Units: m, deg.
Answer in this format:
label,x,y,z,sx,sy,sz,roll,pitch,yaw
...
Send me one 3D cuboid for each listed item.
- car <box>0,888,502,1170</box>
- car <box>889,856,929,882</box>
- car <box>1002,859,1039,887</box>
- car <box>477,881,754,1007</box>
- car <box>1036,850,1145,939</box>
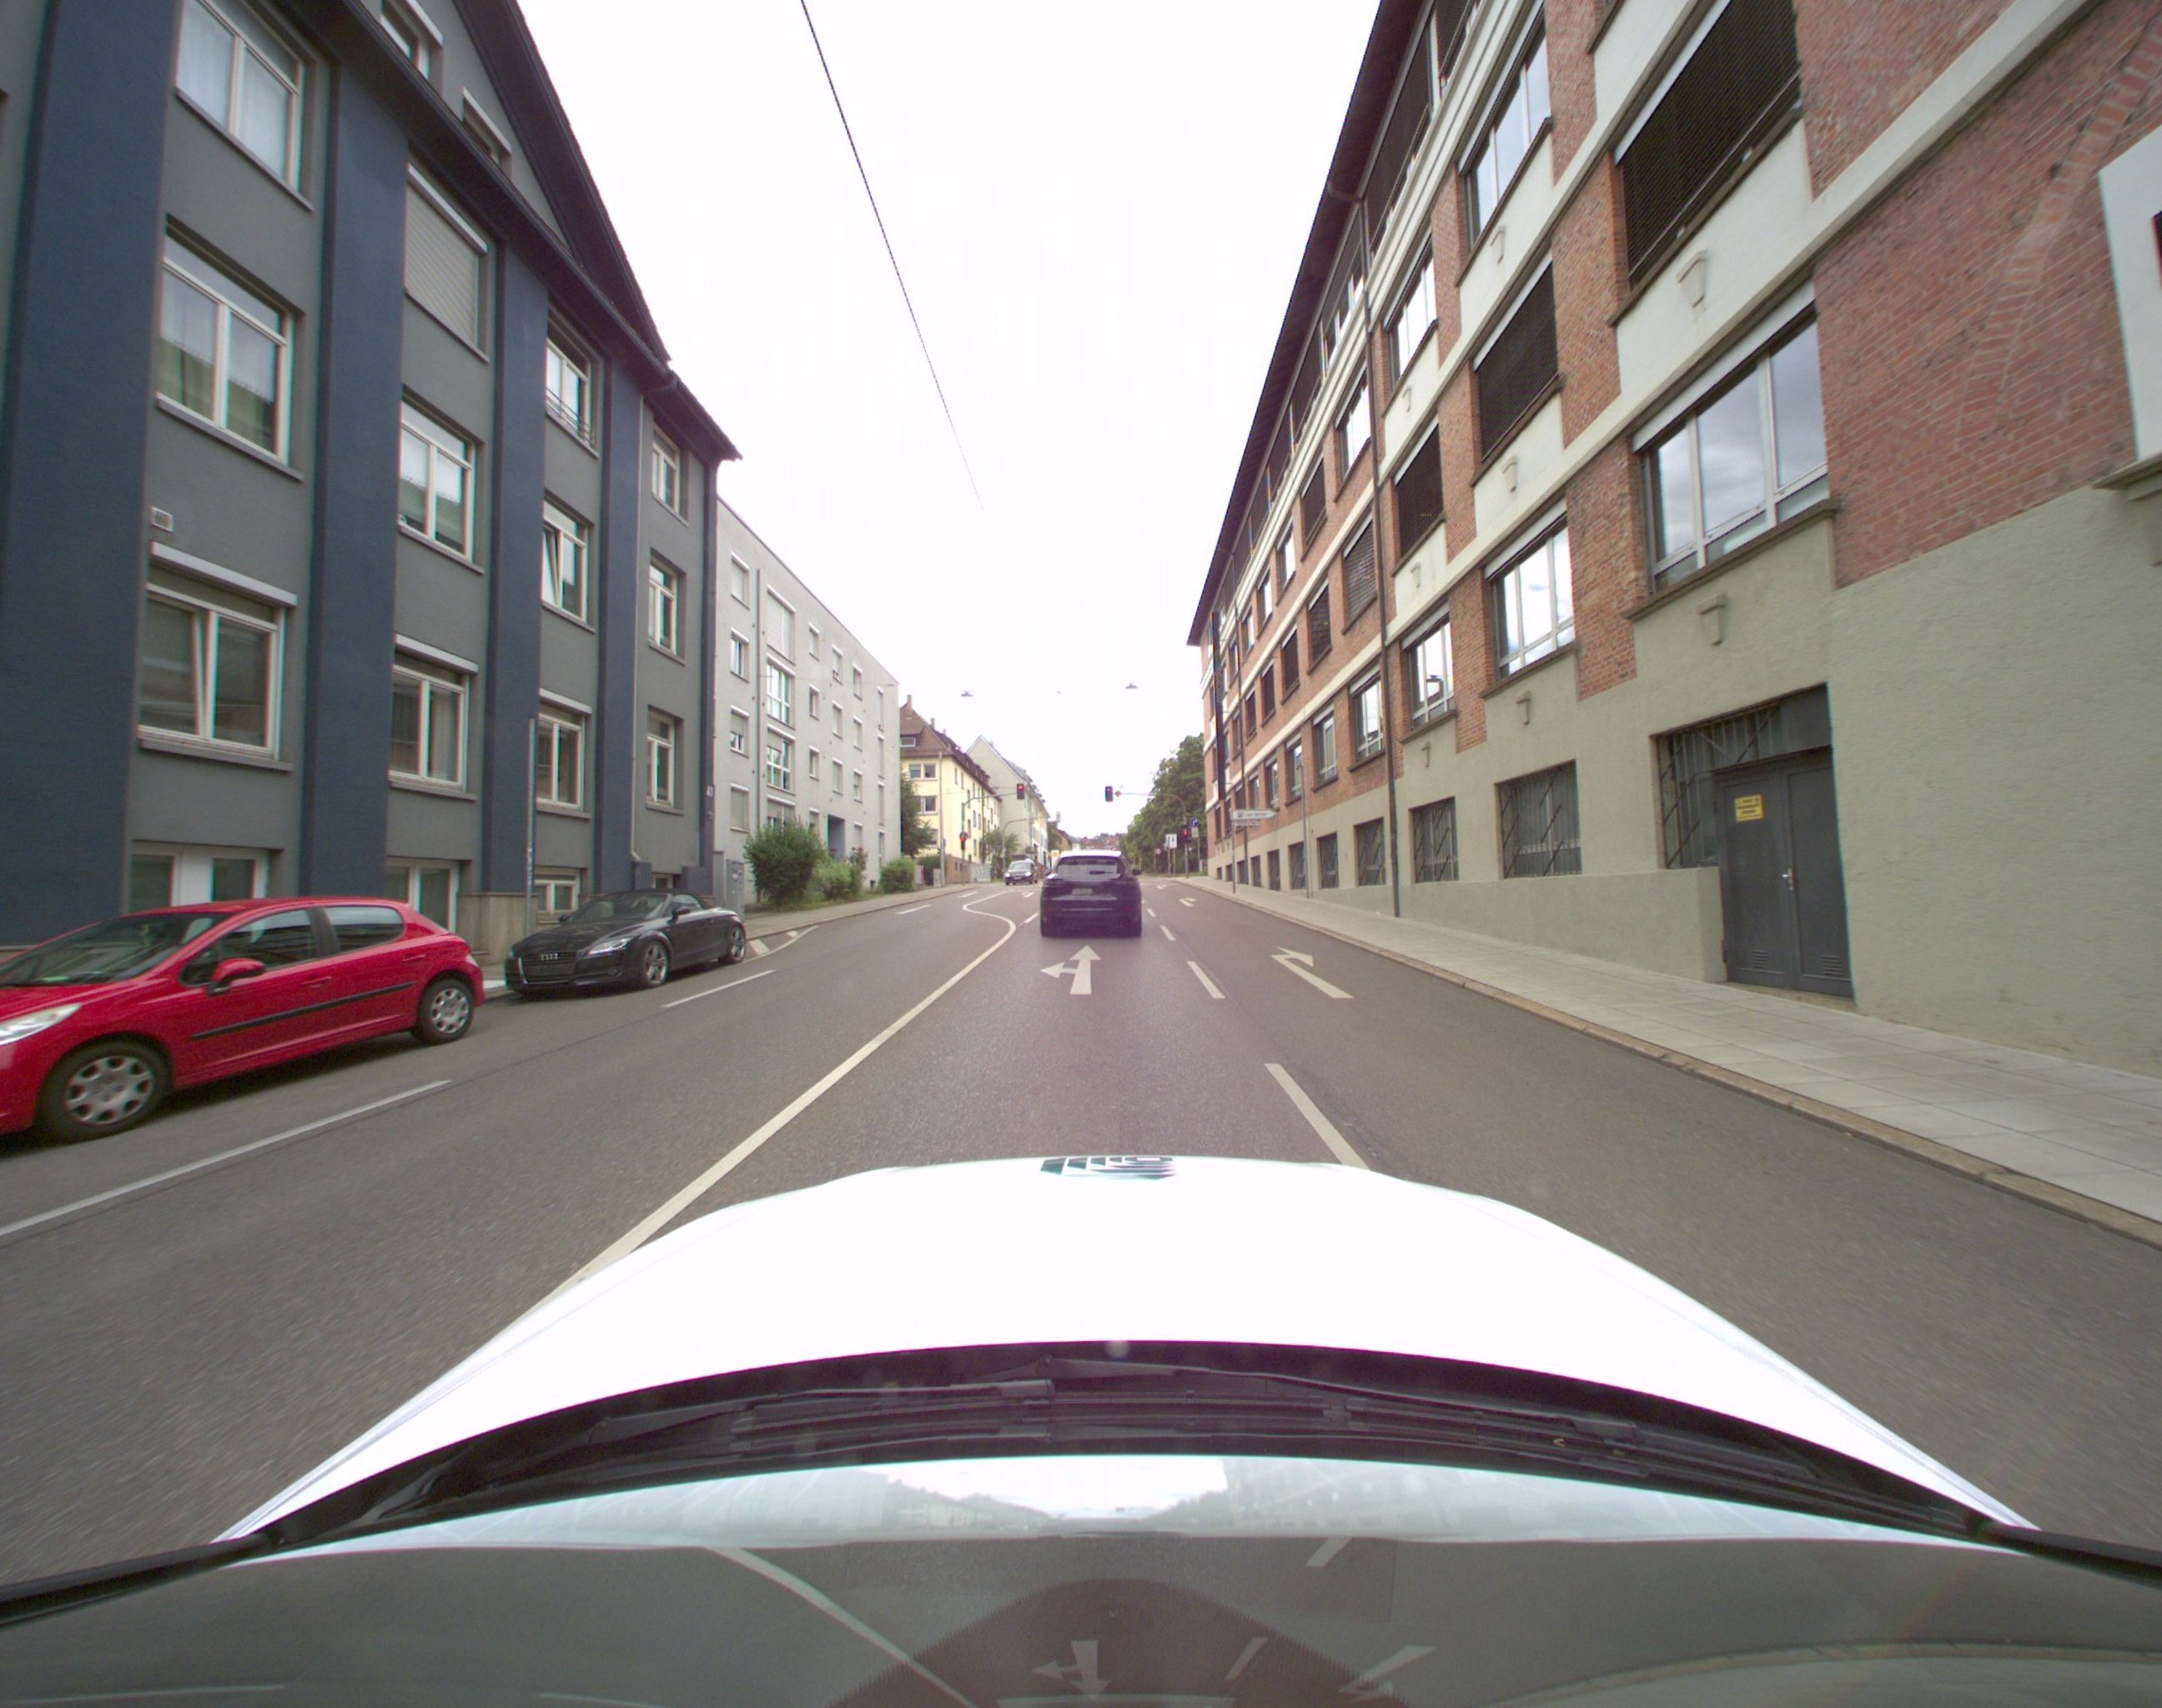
label,x,y,z,sx,sy,sz,roll,pitch,yaw
car,-6.959,1.131,6.422,1.707,1.456,3.992,-4,0,3
car,-11.967,1.024,56.938,1.838,1.691,4.000,-4,0,0
car,-4.058,1.230,55.095,1.889,1.691,4.004,-4,0,3
car,-6.583,1.188,12.097,1.708,1.341,3.906,-4,0,2
car,0.105,0.764,17.276,2.019,1.641,4.352,0,0,-2
